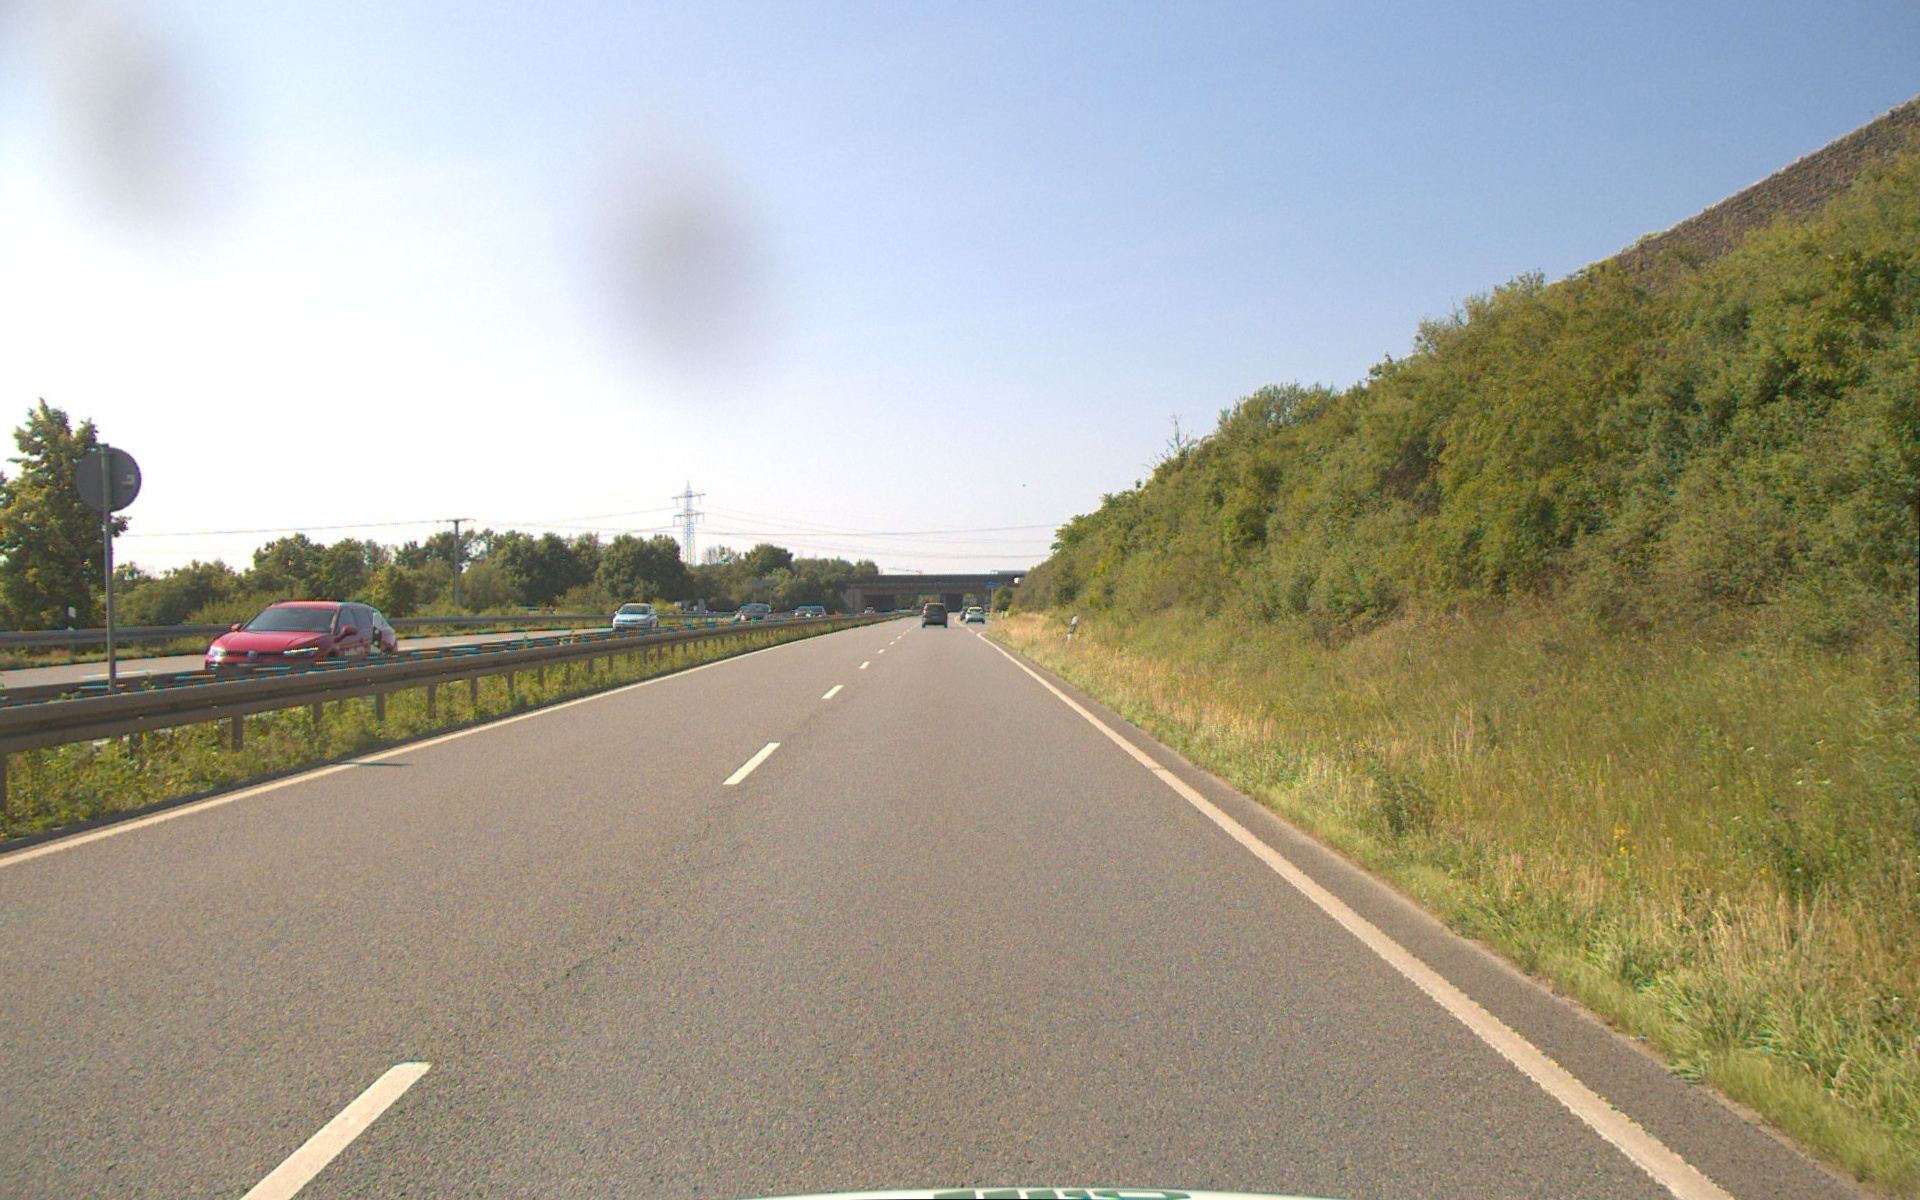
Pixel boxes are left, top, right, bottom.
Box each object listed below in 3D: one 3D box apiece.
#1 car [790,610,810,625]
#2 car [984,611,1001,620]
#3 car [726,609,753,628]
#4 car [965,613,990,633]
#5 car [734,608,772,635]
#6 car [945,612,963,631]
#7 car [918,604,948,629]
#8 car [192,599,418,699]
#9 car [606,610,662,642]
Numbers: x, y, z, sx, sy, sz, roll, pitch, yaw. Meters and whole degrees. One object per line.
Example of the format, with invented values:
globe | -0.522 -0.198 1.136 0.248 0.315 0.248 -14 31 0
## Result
car | -17.834 1.955 184.272 1.778 1.499 4.322 2 0 -1
car | 4.857 2.339 248.286 1.861 1.320 4.003 2 0 10
car | -17.132 1.435 128.817 1.678 1.476 4.321 0 0 -2
car | 1.620 2.098 149.790 1.758 1.694 4.003 2 0 7
car | -12.092 1.245 97.005 1.678 1.496 4.414 2 -1 -1
car | -0.699 2.389 186.644 1.953 2.049 3.999 -2 0 -1
car | -1.847 1.127 114.043 1.811 1.673 4.001 0 -1 2
car | -10.921 0.779 28.030 1.838 1.519 5.094 1 -1 -1
car | -15.323 1.214 77.924 1.784 1.420 4.414 2 -1 -1
